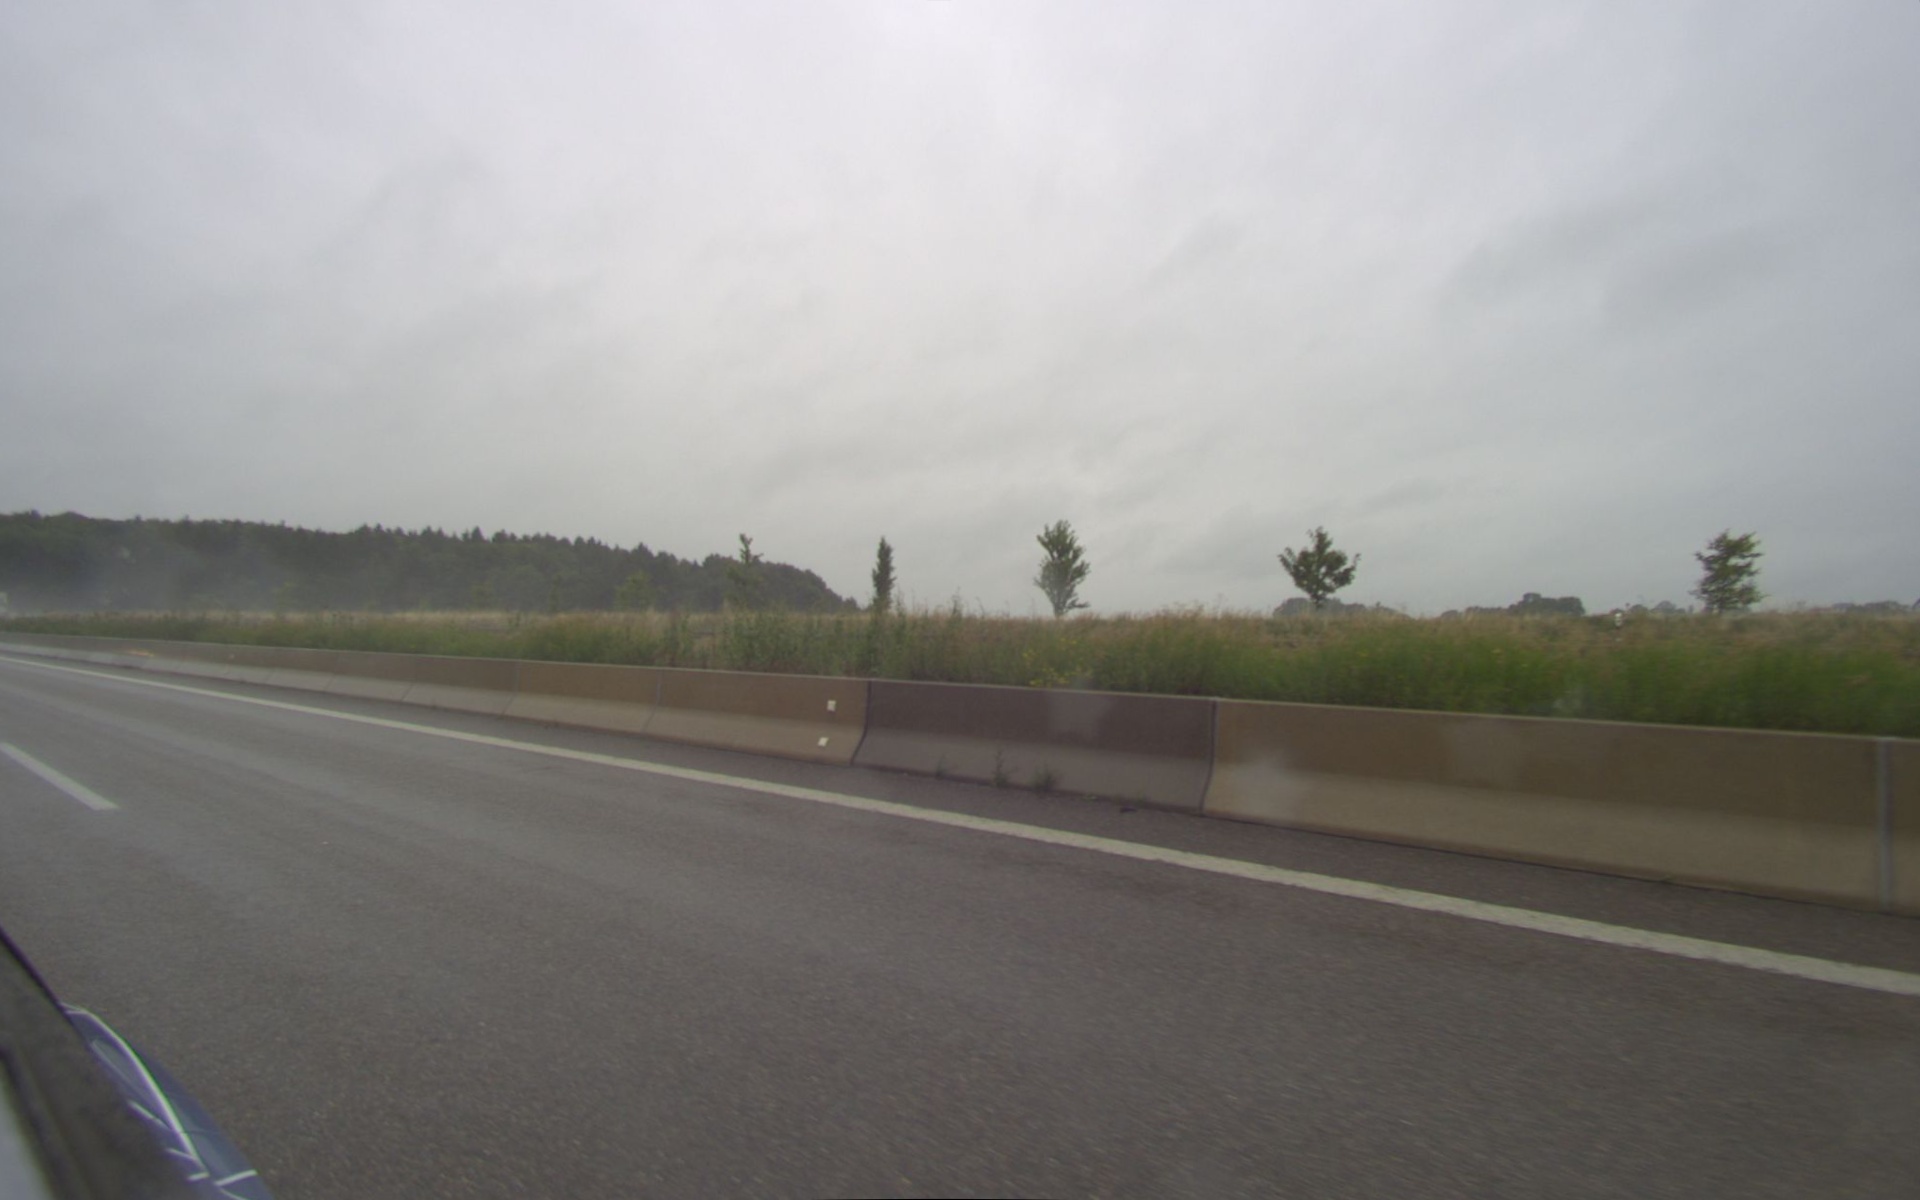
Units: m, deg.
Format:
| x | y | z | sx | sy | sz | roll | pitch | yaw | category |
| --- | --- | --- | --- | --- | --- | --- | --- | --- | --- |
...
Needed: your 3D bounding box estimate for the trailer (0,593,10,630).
| x | y | z | sx | sy | sz | roll | pitch | yaw | category |
| --- | --- | --- | --- | --- | --- | --- | --- | --- | --- |
| -110.615 | 1.331 | 113.994 | 13.871 | 4.049 | 3.353 | -1 | -1 | 39 | trailer |
